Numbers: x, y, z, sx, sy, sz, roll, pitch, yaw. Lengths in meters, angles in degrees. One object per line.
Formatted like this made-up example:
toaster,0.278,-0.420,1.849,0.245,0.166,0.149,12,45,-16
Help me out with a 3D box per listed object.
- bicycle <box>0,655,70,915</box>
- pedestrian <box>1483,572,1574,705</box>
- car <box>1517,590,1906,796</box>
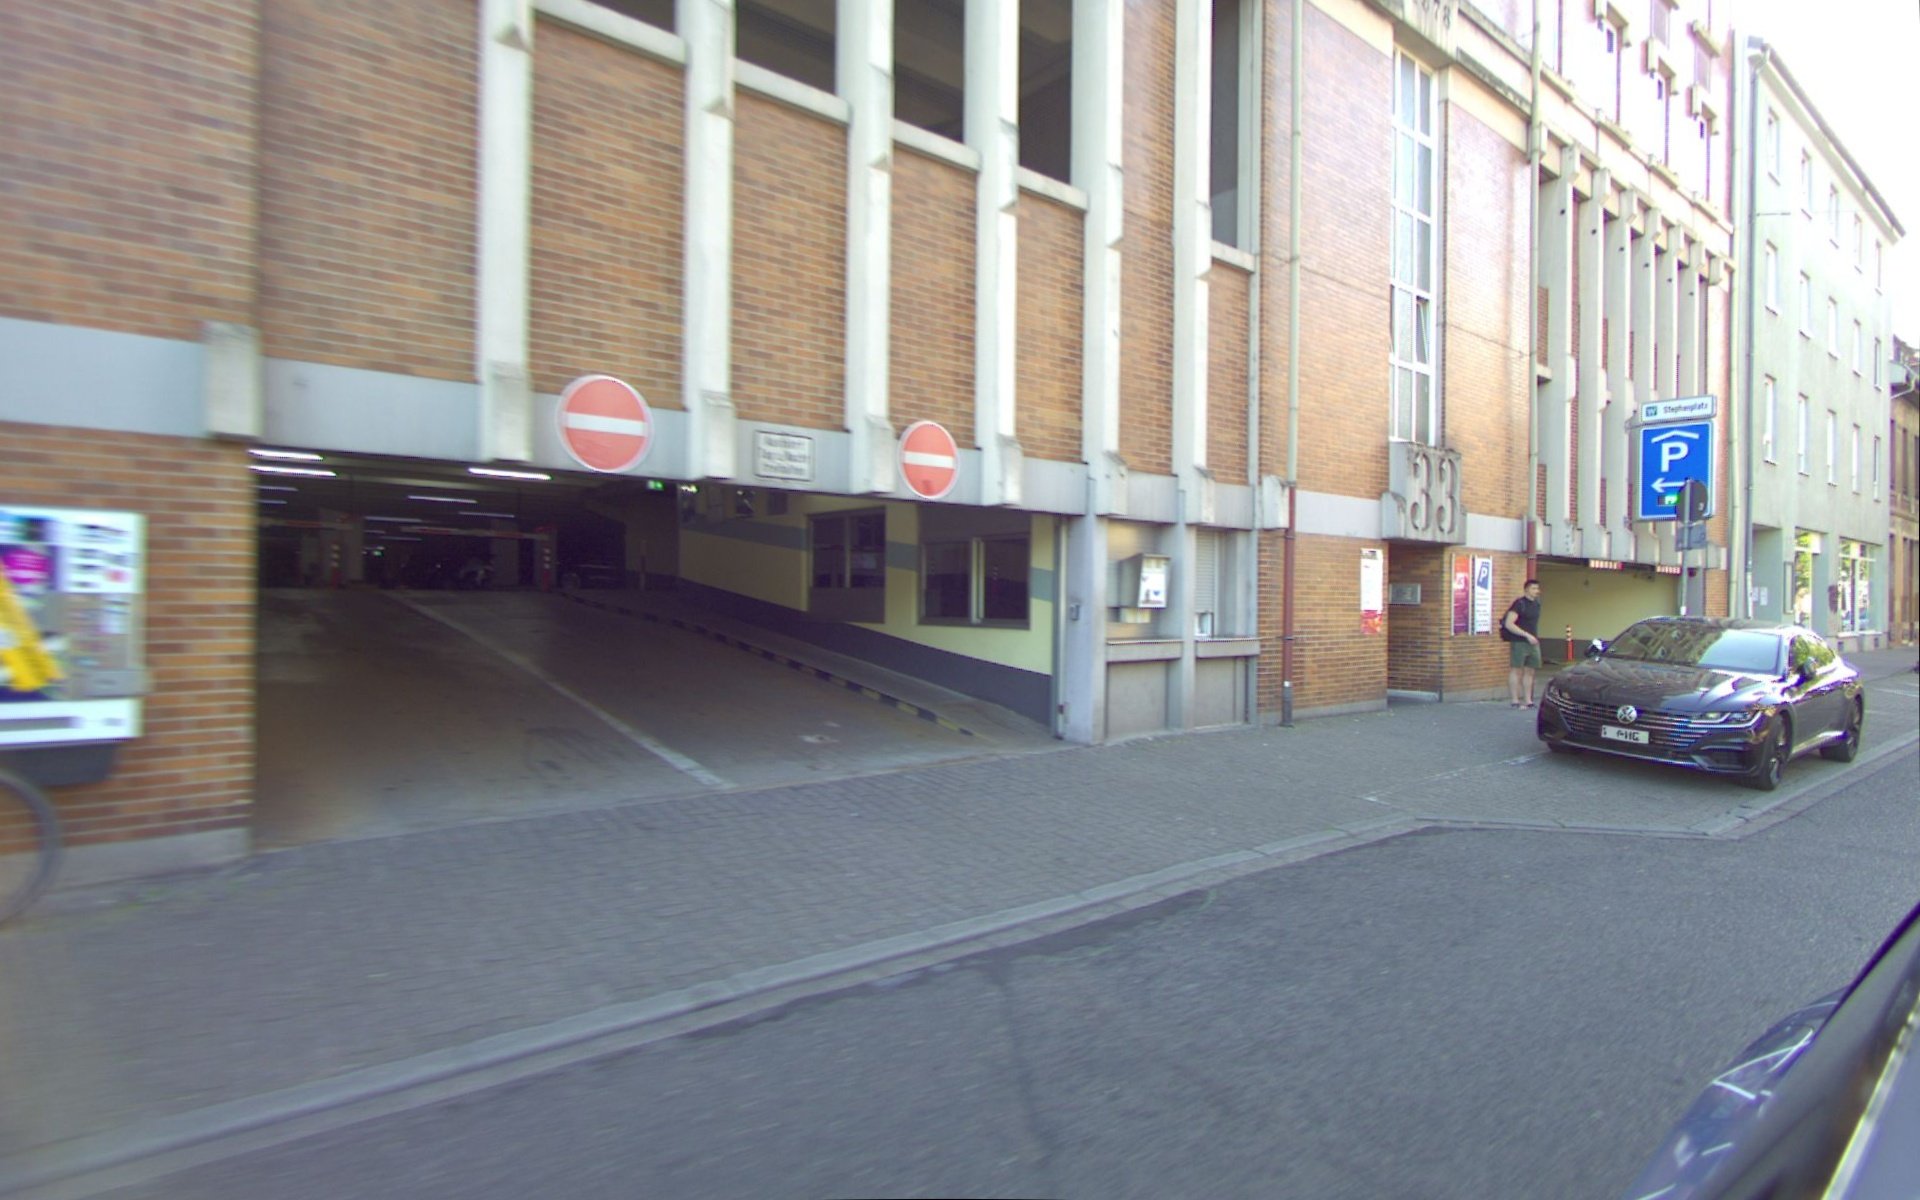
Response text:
bicycle,-4.652,0.782,3.938,1.758,1.057,0.359,1,2,-40
pedestrian,7.492,0.487,13.337,0.873,1.655,0.693,1,2,-39
car,7.807,0.755,10.322,4.874,1.496,1.924,1,4,-39
